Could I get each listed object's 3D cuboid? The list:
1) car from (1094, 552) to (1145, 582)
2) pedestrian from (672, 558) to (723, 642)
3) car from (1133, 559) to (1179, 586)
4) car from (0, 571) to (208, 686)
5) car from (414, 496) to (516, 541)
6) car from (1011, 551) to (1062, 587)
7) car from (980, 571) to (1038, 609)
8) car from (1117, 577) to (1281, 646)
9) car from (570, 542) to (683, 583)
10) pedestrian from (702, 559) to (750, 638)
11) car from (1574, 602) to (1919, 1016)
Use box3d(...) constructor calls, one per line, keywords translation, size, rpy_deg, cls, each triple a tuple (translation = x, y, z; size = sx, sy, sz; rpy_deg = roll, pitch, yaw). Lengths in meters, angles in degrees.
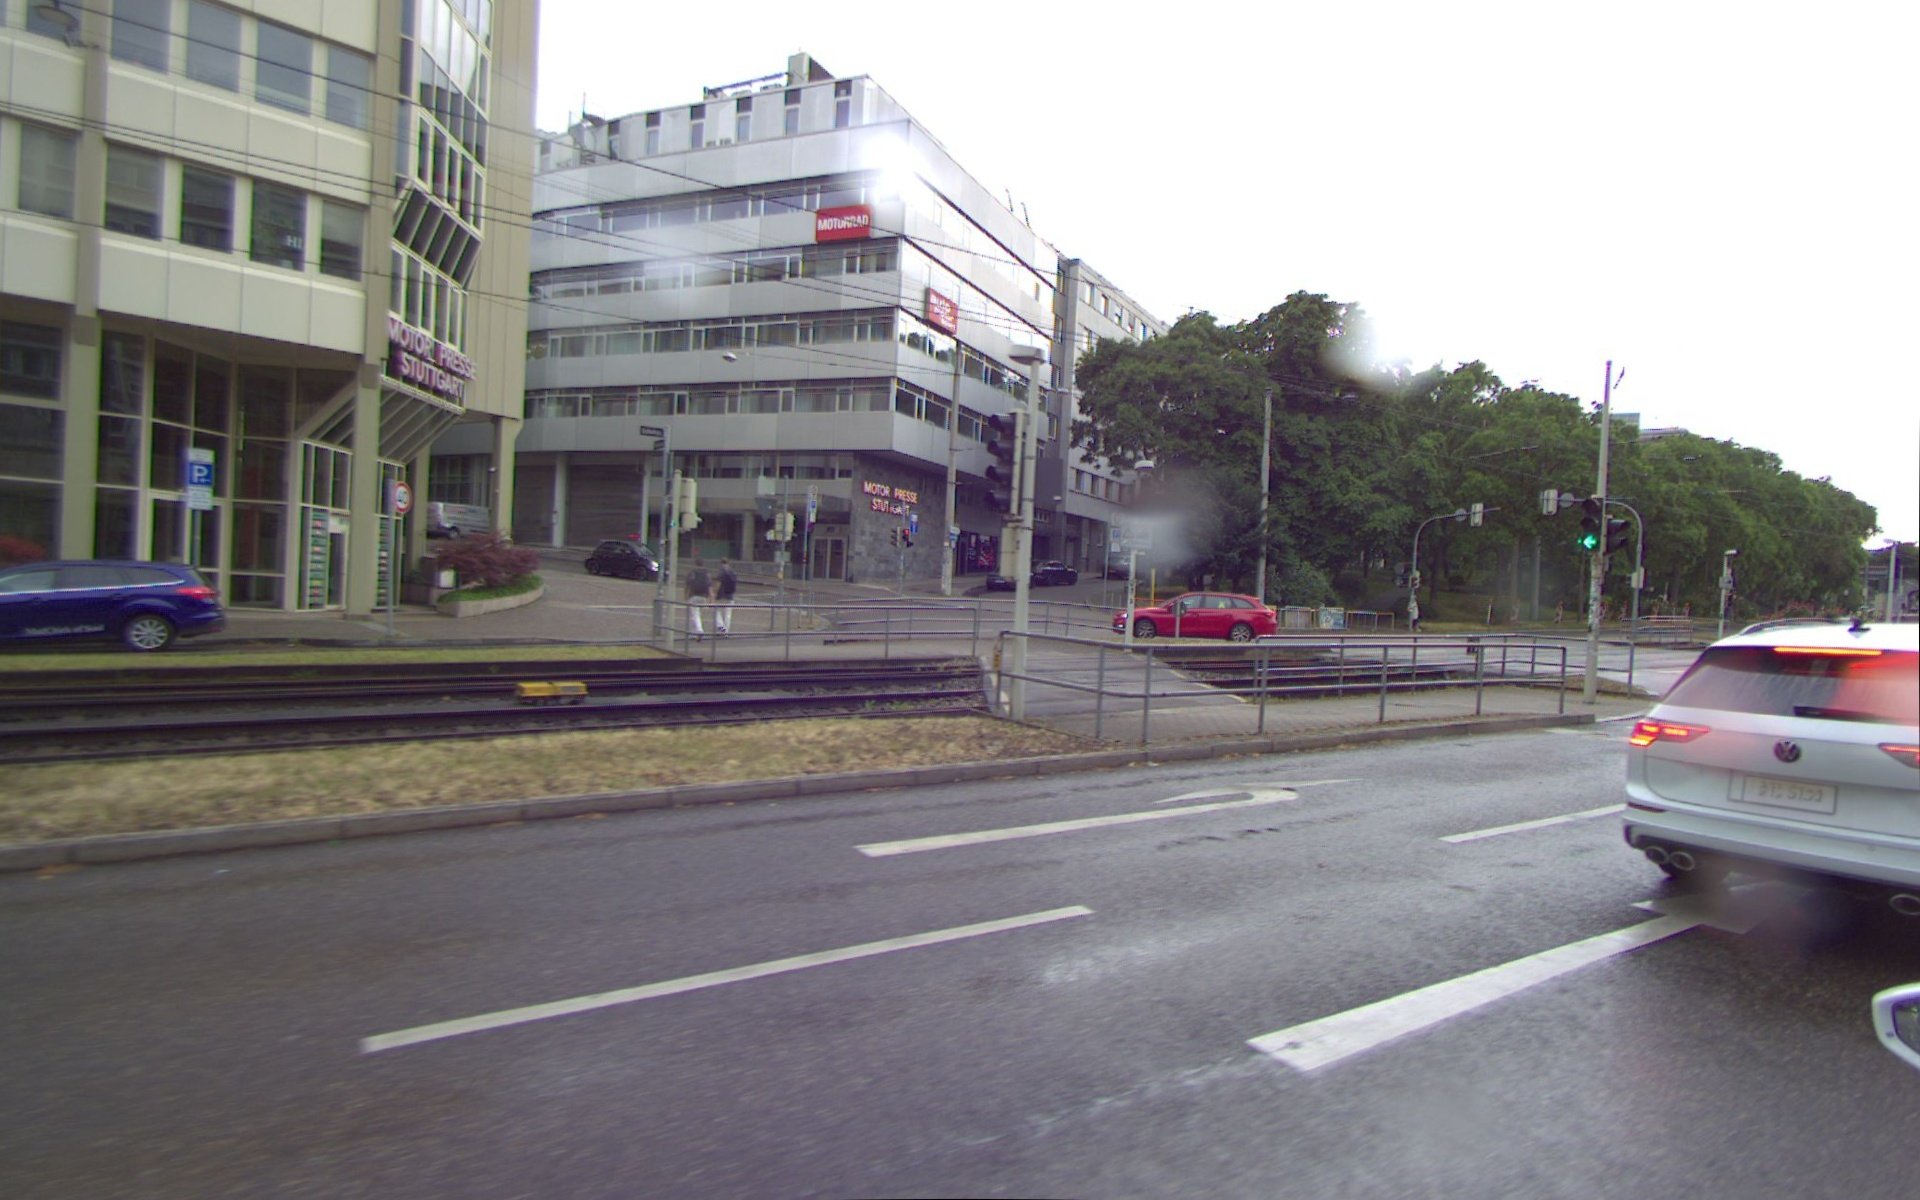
box3d(translation=(11.014, -2.255, 69.164), size=(1.964, 1.818, 4.202), rpy_deg=(5, 2, 30), cls="car")
box3d(translation=(-5.926, -0.002, 22.669), size=(0.630, 1.811, 0.808), rpy_deg=(5, 3, 36), cls="pedestrian")
box3d(translation=(14.962, -2.104, 76.533), size=(1.965, 1.818, 4.201), rpy_deg=(5, 2, 31), cls="car")
box3d(translation=(-14.751, 0.417, 15.888), size=(4.510, 1.603, 1.978), rpy_deg=(2, 3, -39), cls="car")
box3d(translation=(-27.330, -4.479, 55.634), size=(1.962, 2.040, 4.832), rpy_deg=(5, 2, 25), cls="car")
box3d(translation=(4.526, -1.855, 58.813), size=(1.961, 1.818, 3.999), rpy_deg=(4, 5, 19), cls="car")
box3d(translation=(2.681, -0.529, 53.933), size=(1.961, 1.818, 4.000), rpy_deg=(5, 2, 19), cls="car")
box3d(translation=(6.711, 0.295, 28.646), size=(4.327, 1.662, 1.988), rpy_deg=(3, 1, 8), cls="car")
box3d(translation=(-13.355, -1.494, 40.272), size=(3.920, 1.383, 1.830), rpy_deg=(4, 2, 15), cls="car")
box3d(translation=(-5.522, -0.035, 23.726), size=(0.630, 1.811, 0.808), rpy_deg=(5, 3, 36), cls="pedestrian")
box3d(translation=(5.353, 0.861, 5.461), size=(4.204, 1.597, 1.670), rpy_deg=(1, 1, -31), cls="car")
